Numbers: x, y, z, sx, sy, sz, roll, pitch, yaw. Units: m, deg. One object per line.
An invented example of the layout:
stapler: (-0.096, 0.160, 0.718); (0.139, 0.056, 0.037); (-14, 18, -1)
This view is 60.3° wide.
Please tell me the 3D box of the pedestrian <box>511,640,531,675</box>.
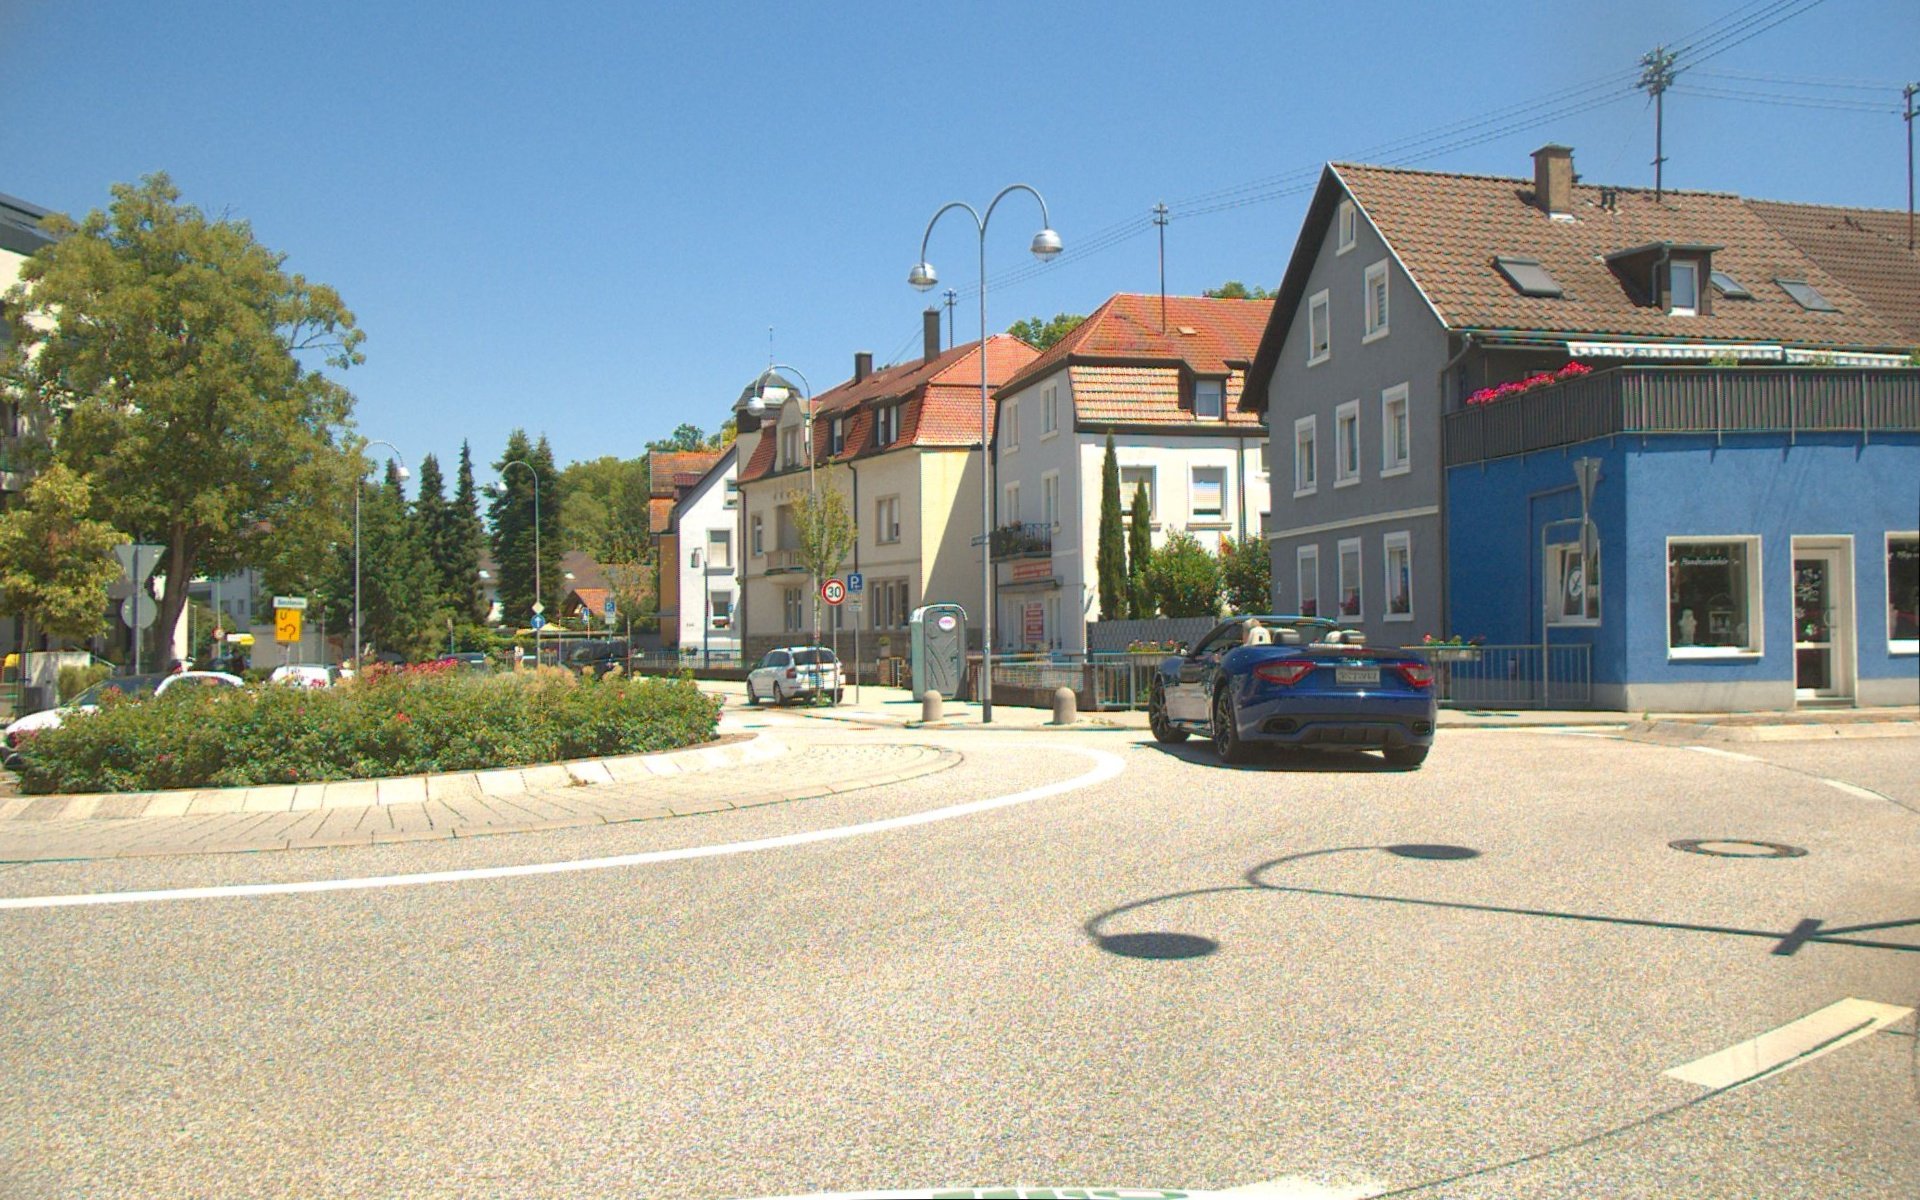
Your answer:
pedestrian: (-22.965, 3.001, 86.528); (0.834, 1.846, 0.543); (1, -1, -32)

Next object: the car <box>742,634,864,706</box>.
car: (-4.214, 1.835, 43.718); (1.967, 1.611, 4.257); (-5, 0, -22)

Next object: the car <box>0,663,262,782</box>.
car: (-12.372, 1.738, 24.211); (1.885, 1.406, 4.291); (-3, -1, 10)

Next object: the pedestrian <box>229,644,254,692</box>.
pedestrian: (-23.188, 2.197, 53.366); (0.519, 1.511, 0.556); (-2, -2, 7)

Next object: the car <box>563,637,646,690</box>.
car: (-13.940, 2.438, 64.698); (1.972, 1.898, 4.245); (1, 0, -29)

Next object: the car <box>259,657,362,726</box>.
car: (-16.512, 2.296, 42.221); (1.764, 1.618, 3.988); (1, -2, -12)

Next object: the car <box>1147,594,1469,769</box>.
car: (3.191, 0.734, 16.200); (1.937, 1.423, 4.623); (2, -1, -3)
